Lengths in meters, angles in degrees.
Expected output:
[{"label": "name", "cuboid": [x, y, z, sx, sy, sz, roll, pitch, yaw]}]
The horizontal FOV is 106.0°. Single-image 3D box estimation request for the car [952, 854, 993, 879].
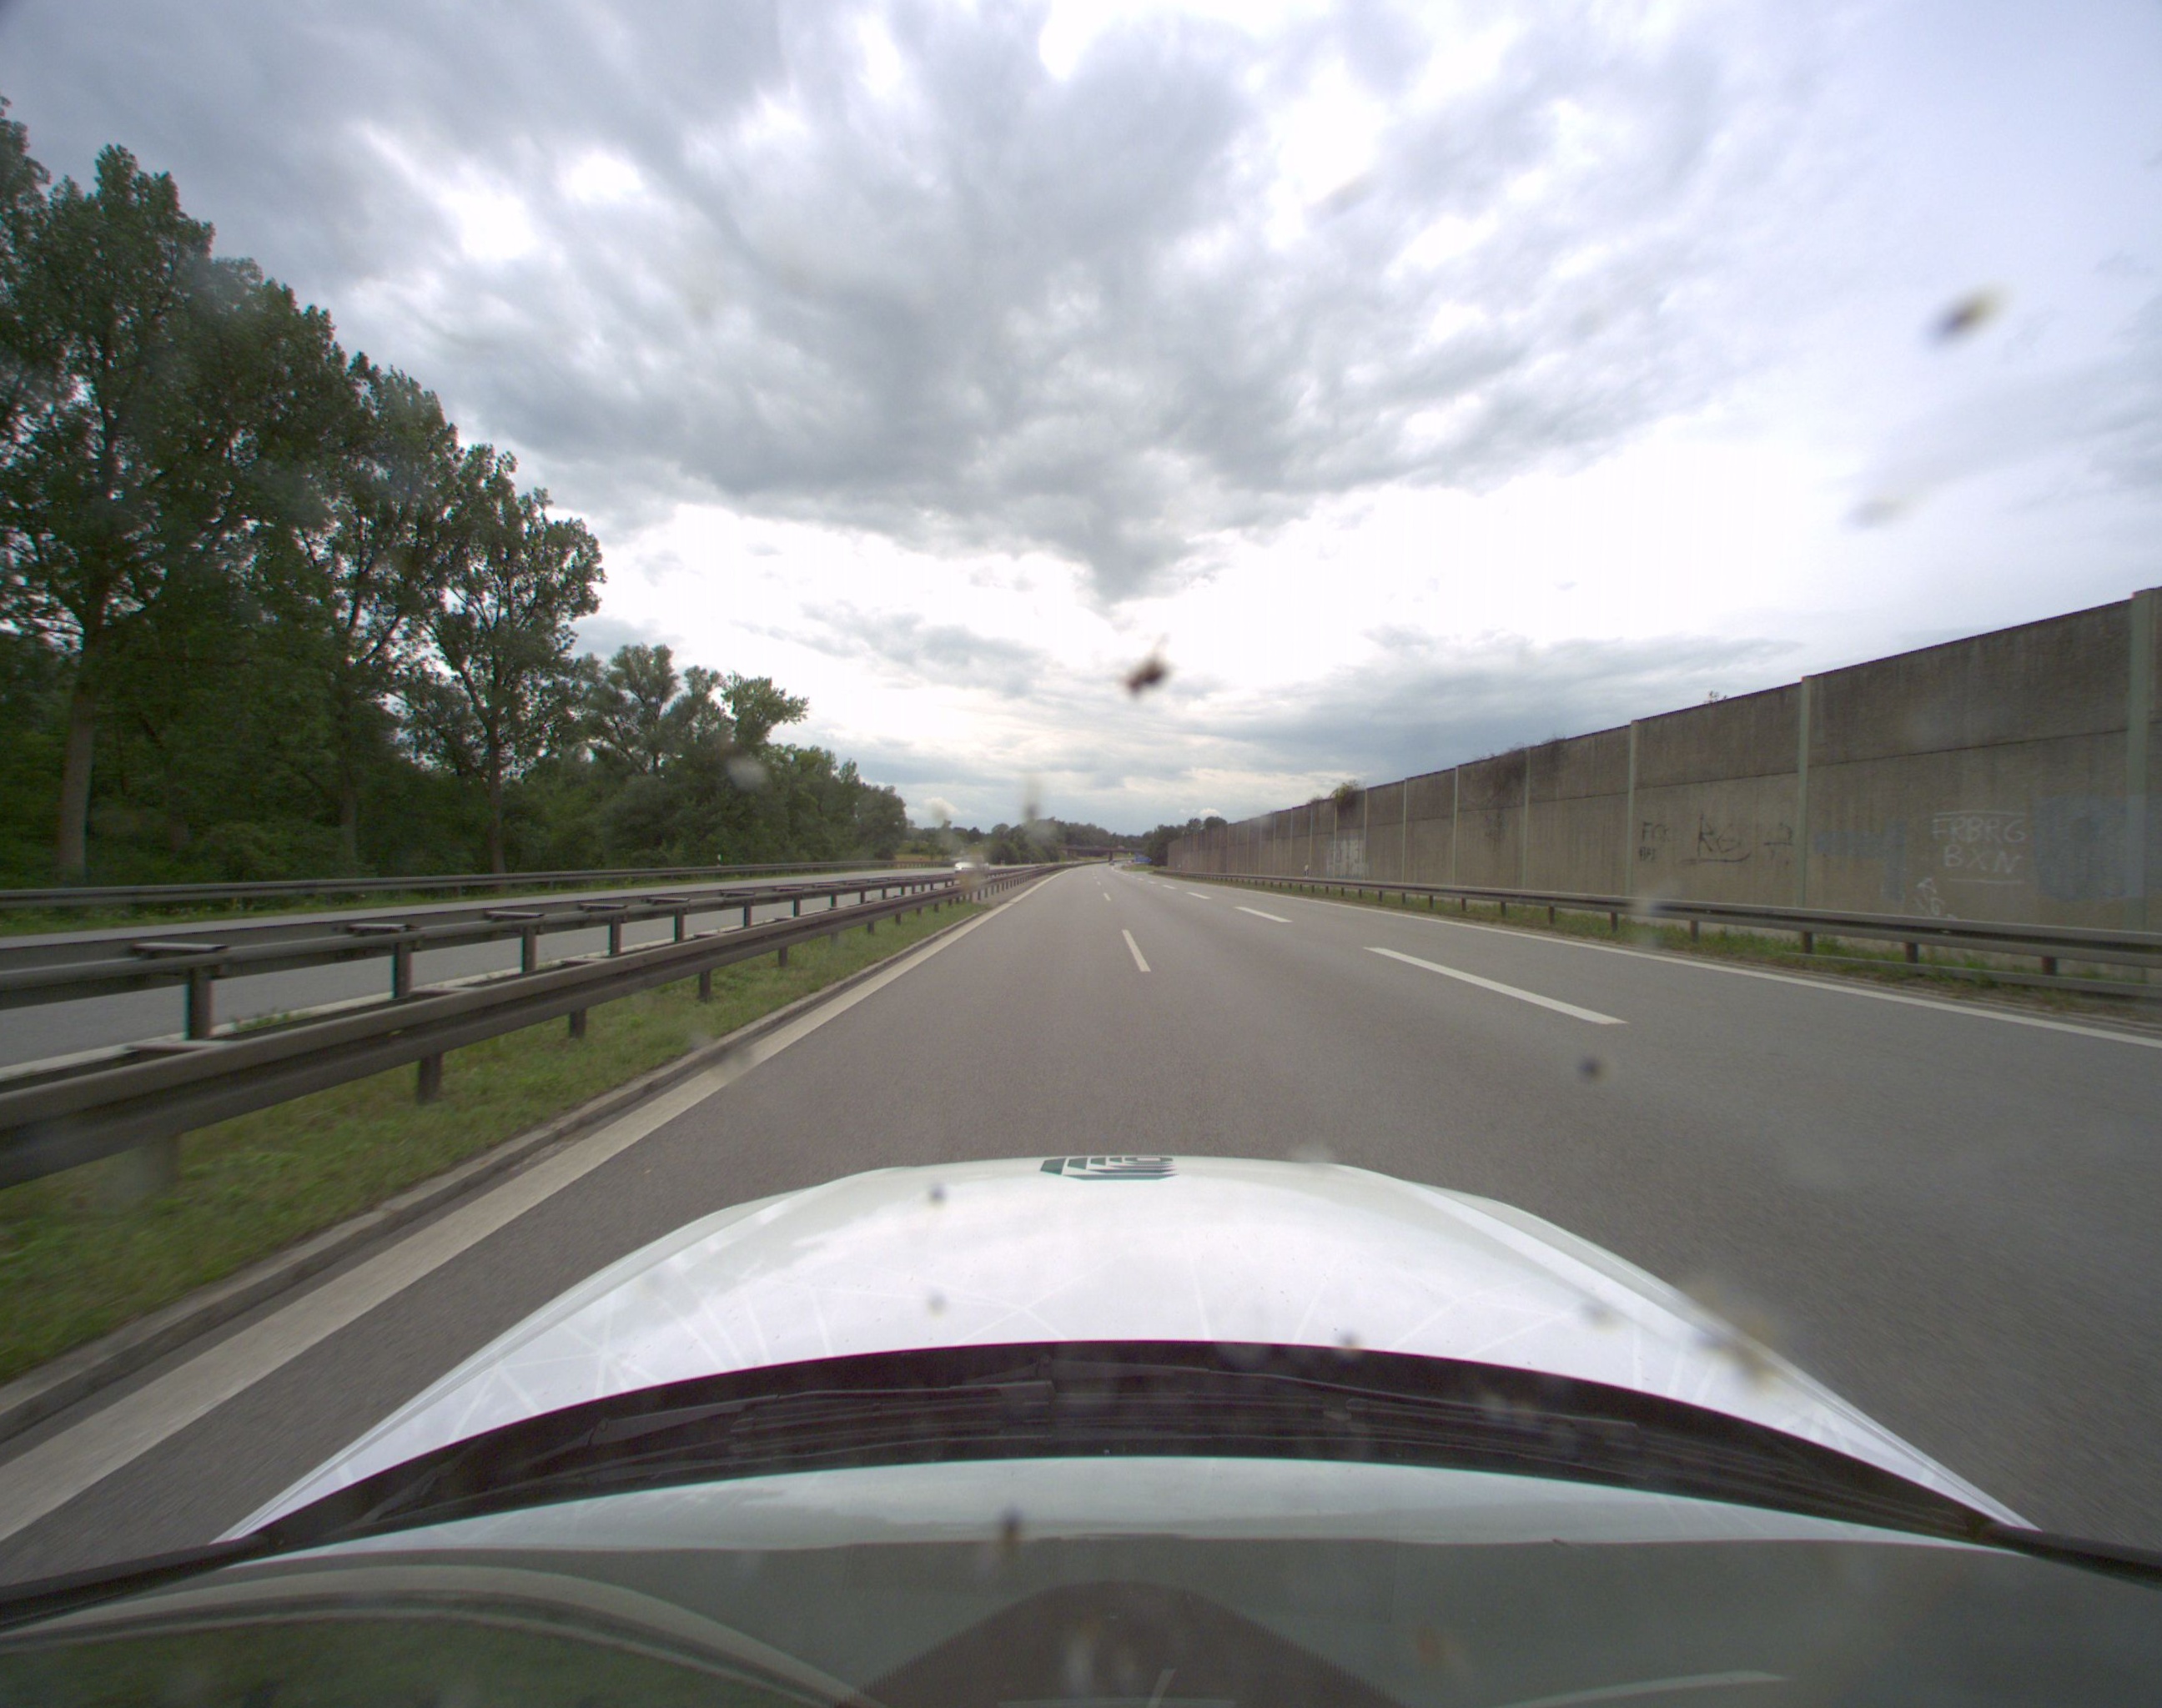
[{"label": "car", "cuboid": [-7.399, 0.802, 55.852, 1.986, 1.615, 5.030, 1, 0, 1]}]
